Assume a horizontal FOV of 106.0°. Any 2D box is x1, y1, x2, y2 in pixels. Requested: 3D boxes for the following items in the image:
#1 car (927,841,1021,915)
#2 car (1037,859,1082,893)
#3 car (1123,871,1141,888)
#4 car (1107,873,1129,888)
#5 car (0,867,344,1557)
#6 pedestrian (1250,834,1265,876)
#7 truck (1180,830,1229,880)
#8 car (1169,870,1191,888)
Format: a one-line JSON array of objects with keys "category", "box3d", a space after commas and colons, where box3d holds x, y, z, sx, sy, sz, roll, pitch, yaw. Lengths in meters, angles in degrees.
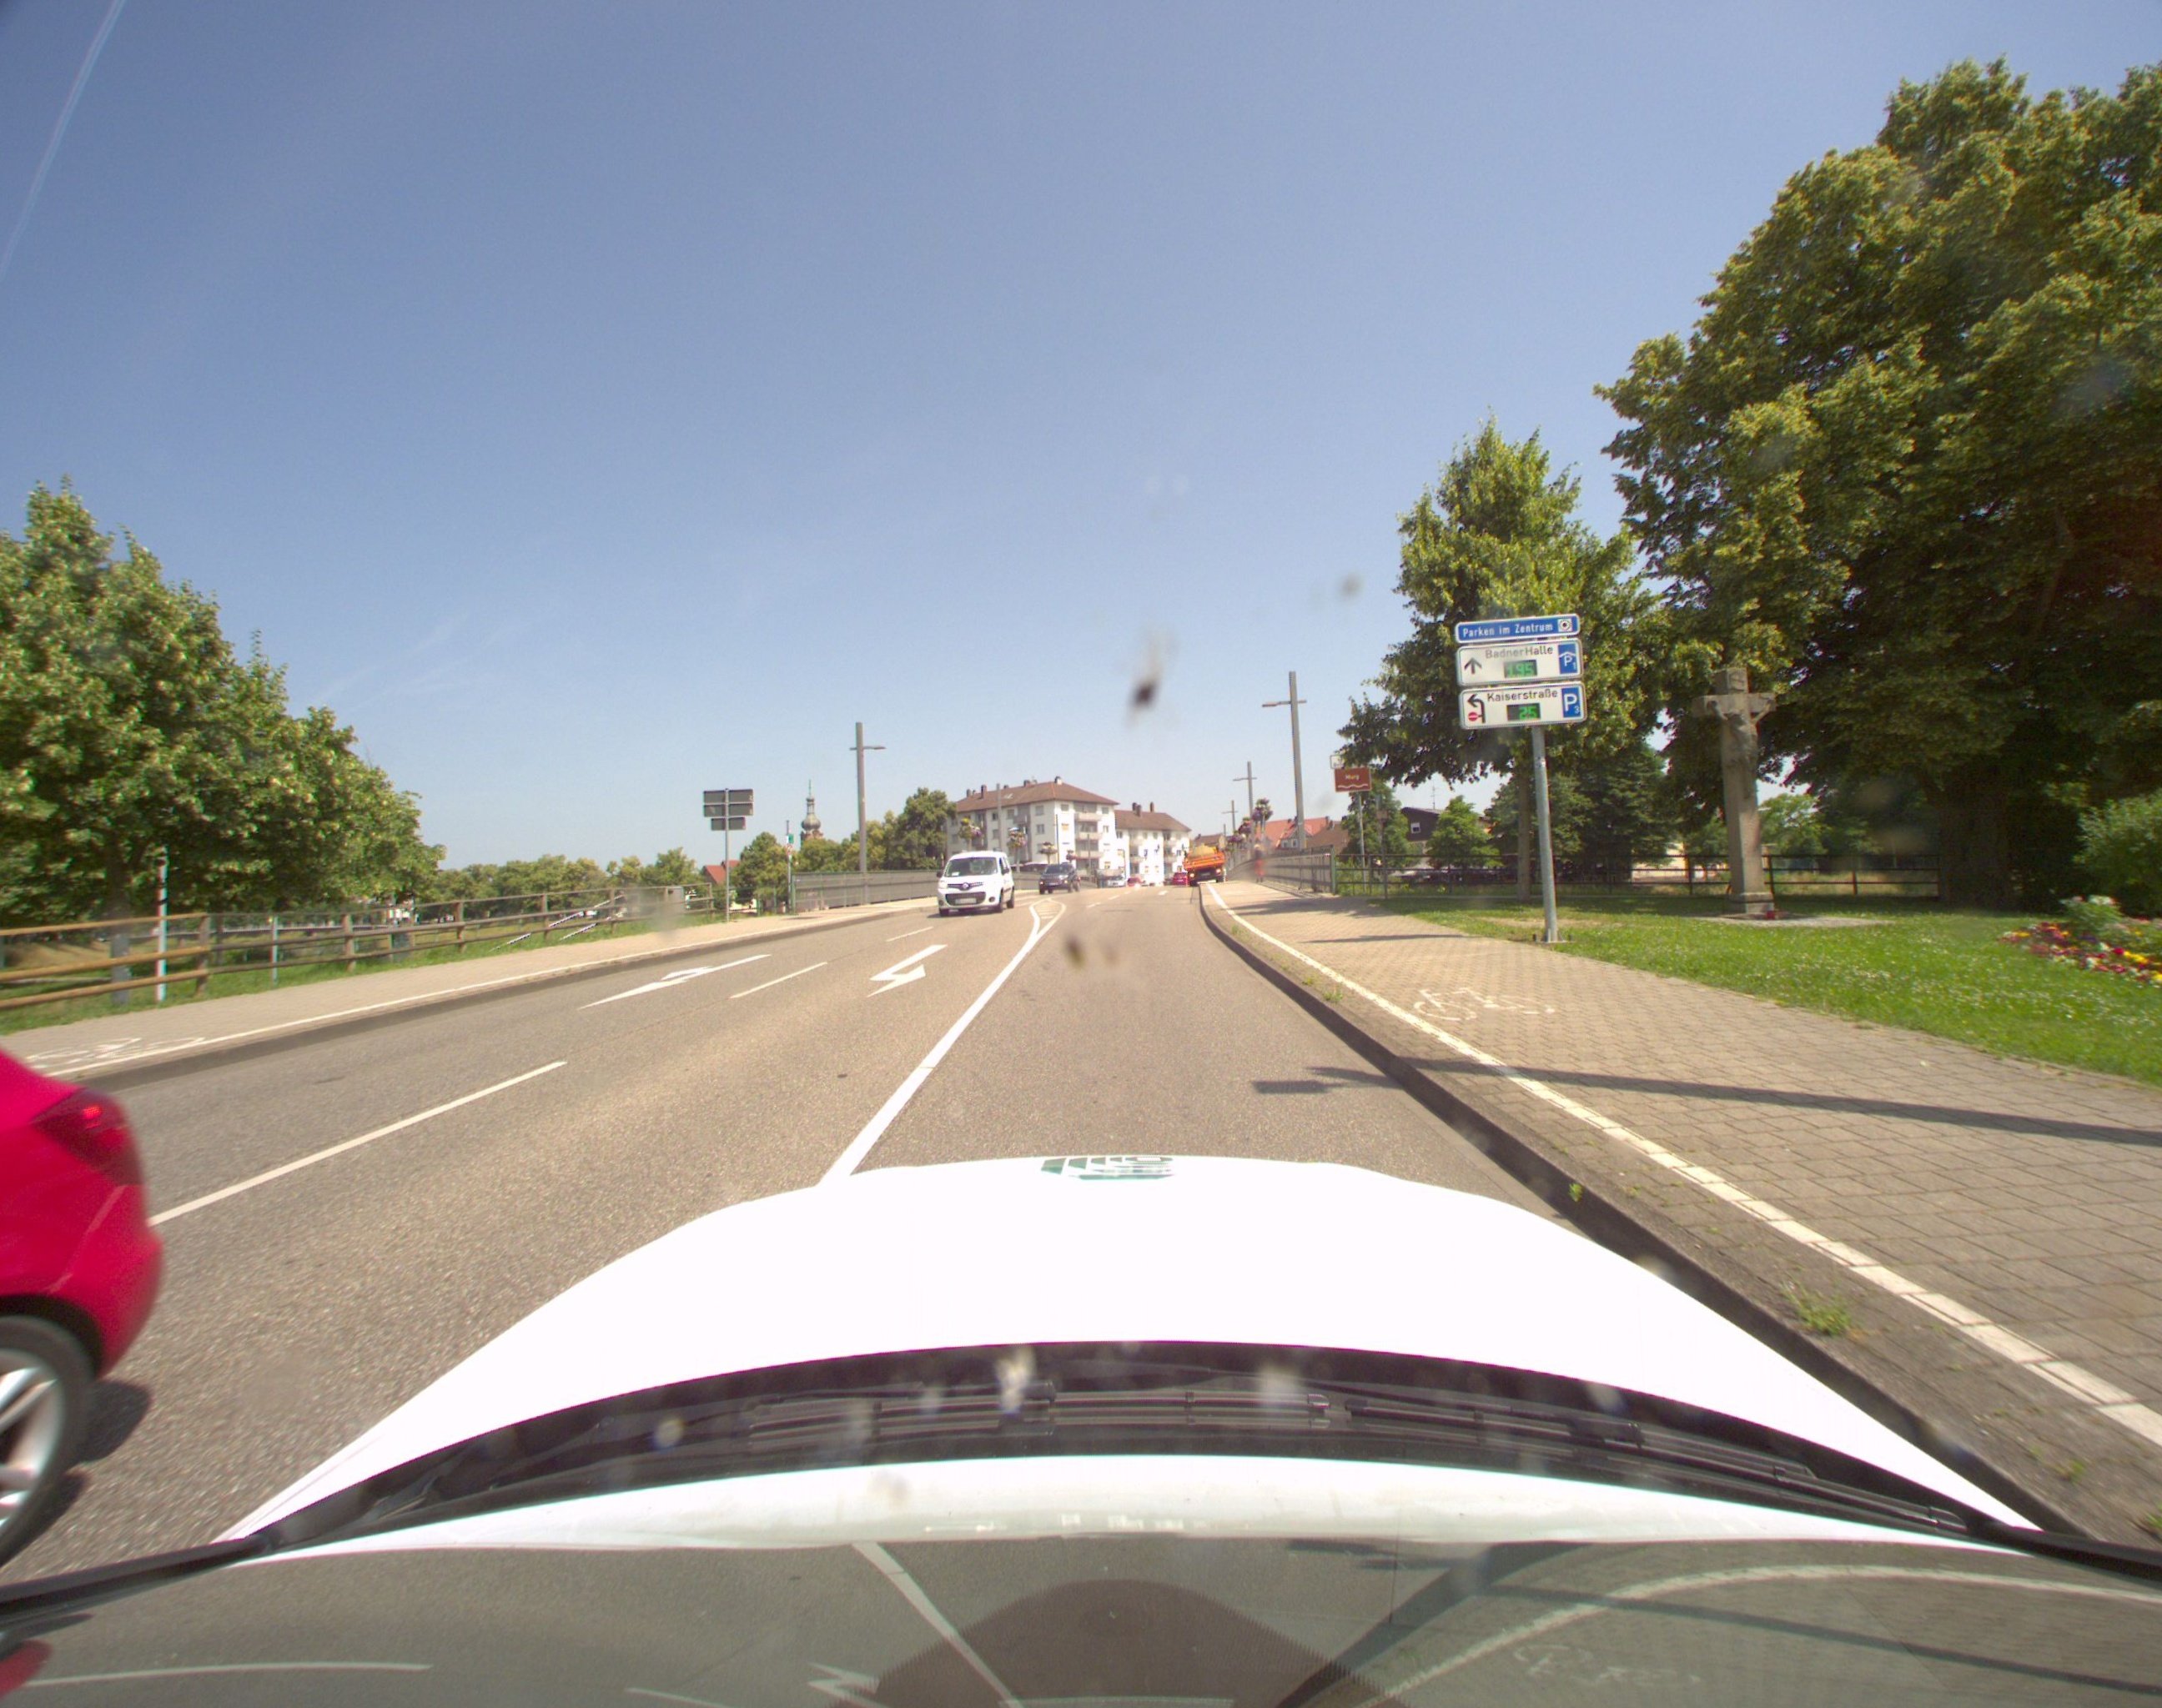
[{"category": "car", "box3d": [-3.035, 0.671, 24.055, 1.829, 1.860, 4.666, -4, -1, 3]}, {"category": "car", "box3d": [-1.125, 1.186, 44.183, 1.727, 1.641, 3.929, -4, -2, 7]}, {"category": "car", "box3d": [5.925, 2.924, 93.618, 1.726, 1.777, 4.184, -3, -3, 7]}, {"category": "car", "box3d": [3.616, 2.521, 78.824, 1.689, 1.359, 4.466, -1, -2, 8]}, {"category": "car", "box3d": [-3.136, 0.783, 0.605, 1.642, 1.464, 3.859, -2, -1, -1]}, {"category": "pedestrian", "box3d": [8.412, 0.041, 38.853, 0.544, 1.960, 0.673, -2, -3, 3]}, {"category": "truck", "box3d": [7.414, 0.138, 48.925, 2.591, 2.691, 5.836, -3, -2, 8]}, {"category": "car", "box3d": [9.998, 2.526, 82.441, 1.980, 1.613, 4.349, -3, -2, 6]}]
